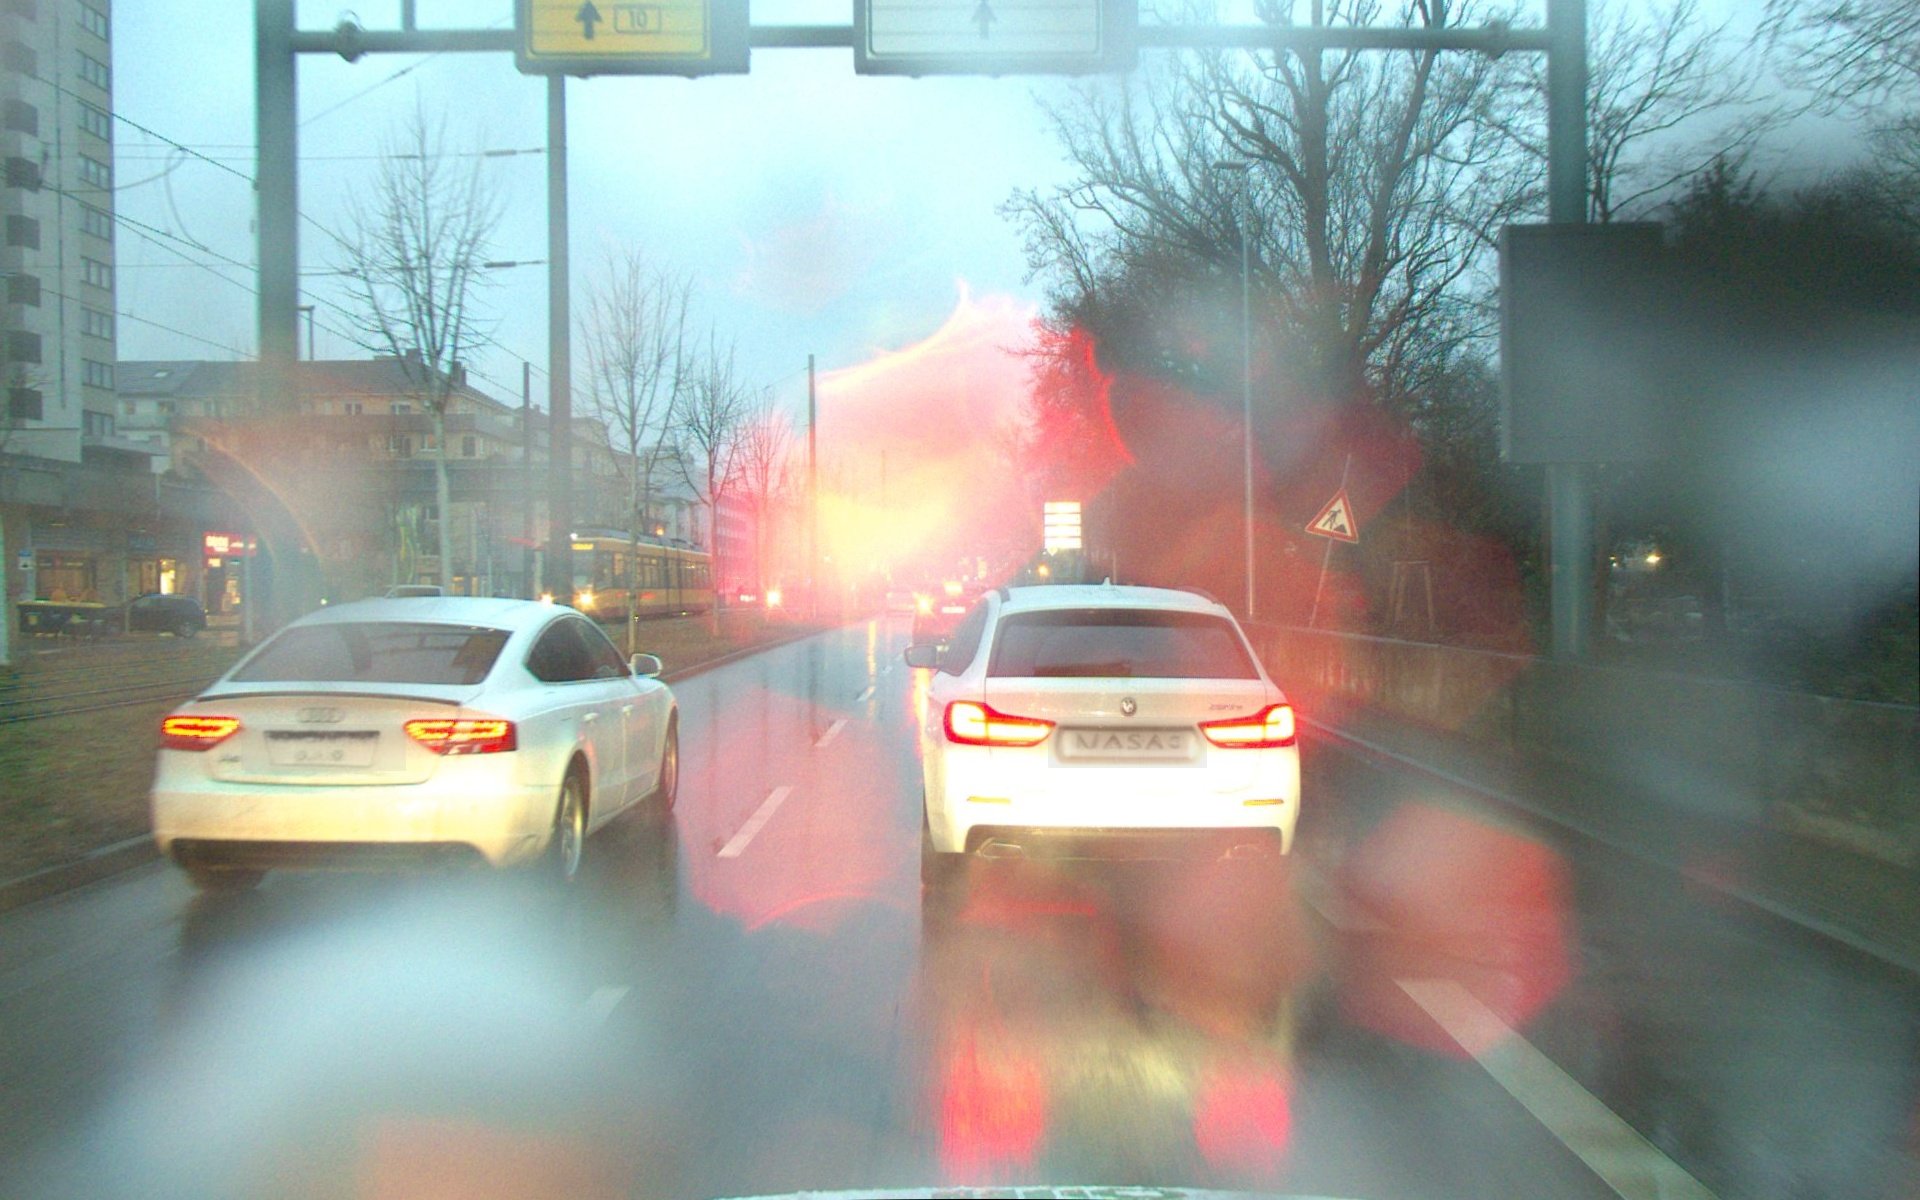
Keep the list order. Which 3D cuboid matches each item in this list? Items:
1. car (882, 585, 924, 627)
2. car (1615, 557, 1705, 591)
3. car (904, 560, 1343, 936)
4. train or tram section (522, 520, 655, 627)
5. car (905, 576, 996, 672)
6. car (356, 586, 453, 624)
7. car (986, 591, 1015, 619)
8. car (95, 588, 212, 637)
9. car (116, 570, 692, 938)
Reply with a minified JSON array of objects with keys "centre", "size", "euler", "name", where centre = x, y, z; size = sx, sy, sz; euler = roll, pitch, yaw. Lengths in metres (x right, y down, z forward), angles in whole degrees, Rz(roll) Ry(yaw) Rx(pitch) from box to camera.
[{"centre":[-2.835,0.287,82.766],"size":[1.953,2.049,4.000],"euler":[1,0,-1],"name":"car"},{"centre":[36.196,-1.344,85.635],"size":[1.798,1.691,3.949],"euler":[1,0,-36],"name":"car"},{"centre":[0.631,0.619,9.135],"size":[1.725,1.580,4.248],"euler":[1,0,-4],"name":"car"},{"centre":[-13.436,-0.926,60.620],"size":[2.784,3.566,9.157],"euler":[-2,0,-1],"name":"train or tram section"},{"centre":[-0.218,0.516,37.747],"size":[1.953,2.049,4.000],"euler":[1,0,-1],"name":"car"},{"centre":[-31.270,0.241,93.243],"size":[4.842,2.049,1.969],"euler":[-1,1,-42],"name":"car"},{"centre":[3.135,0.364,126.692],"size":[1.951,2.049,4.002],"euler":[1,0,5],"name":"car"},{"centre":[-31.426,0.471,64.490],"size":[3.787,1.828,1.881],"euler":[-1,1,-42],"name":"car"},{"centre":[-2.622,0.624,8.911],"size":[1.724,1.495,4.250],"euler":[1,0,-1],"name":"car"}]
